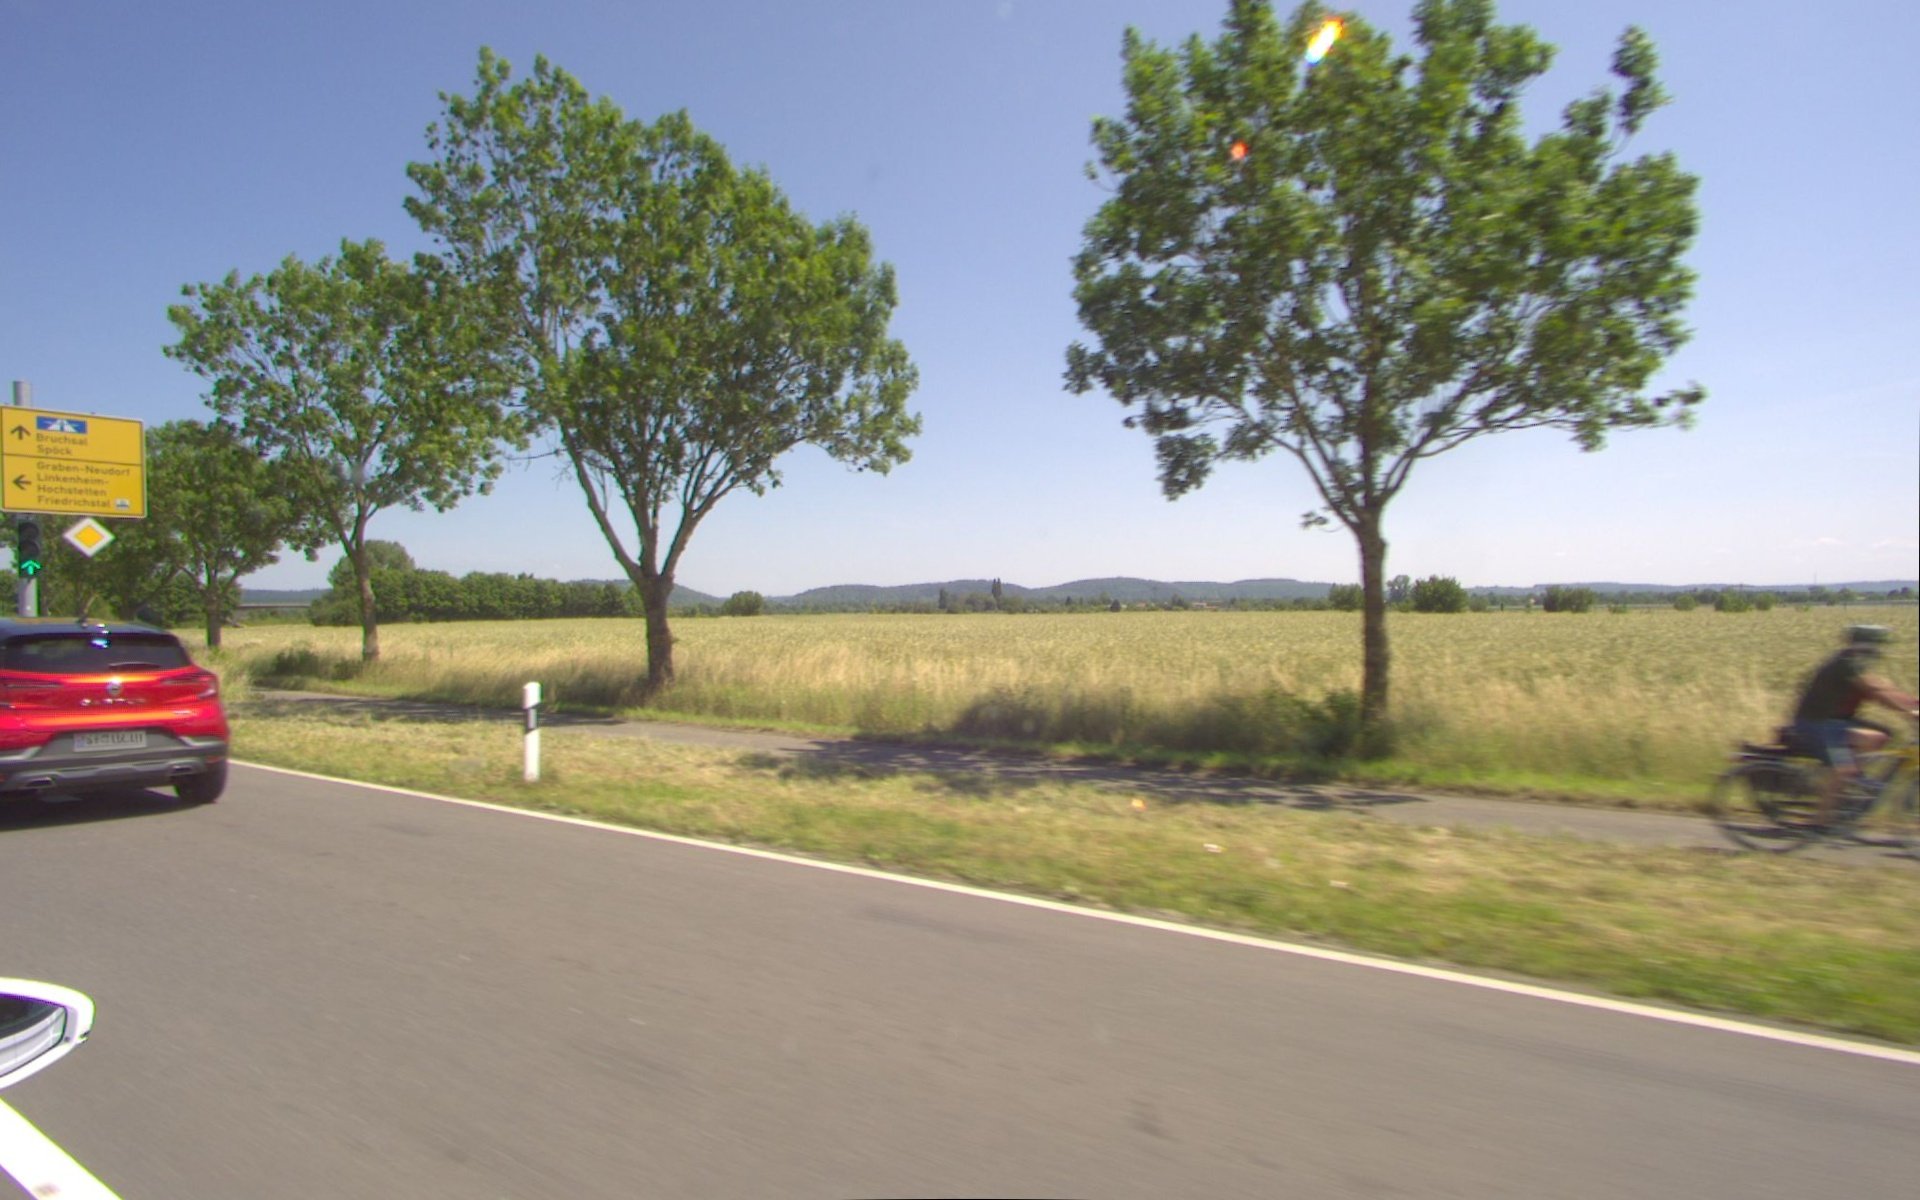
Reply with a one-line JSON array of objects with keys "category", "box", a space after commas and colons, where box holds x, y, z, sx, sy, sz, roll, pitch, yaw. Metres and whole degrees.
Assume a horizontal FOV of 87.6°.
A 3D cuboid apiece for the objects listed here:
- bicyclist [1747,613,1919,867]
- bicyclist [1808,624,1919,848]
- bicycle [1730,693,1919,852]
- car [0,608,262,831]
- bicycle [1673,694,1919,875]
[{"category": "bicyclist", "box": [6.599, 0.998, 7.436, 1.158, 1.755, 0.585, 0, -5, 41]}, {"category": "bicyclist", "box": [7.856, 1.130, 8.490, 0.965, 1.804, 0.626, 0, -4, 37]}, {"category": "bicycle", "box": [7.814, 1.444, 8.475, 2.025, 1.225, 0.696, -1, -3, 37]}, {"category": "car", "box": [-8.174, 0.907, 8.890, 4.389, 1.572, 1.818, -1, -2, 34]}, {"category": "bicycle", "box": [6.546, 1.332, 7.406, 2.028, 1.191, 0.603, -2, -4, 41]}]
